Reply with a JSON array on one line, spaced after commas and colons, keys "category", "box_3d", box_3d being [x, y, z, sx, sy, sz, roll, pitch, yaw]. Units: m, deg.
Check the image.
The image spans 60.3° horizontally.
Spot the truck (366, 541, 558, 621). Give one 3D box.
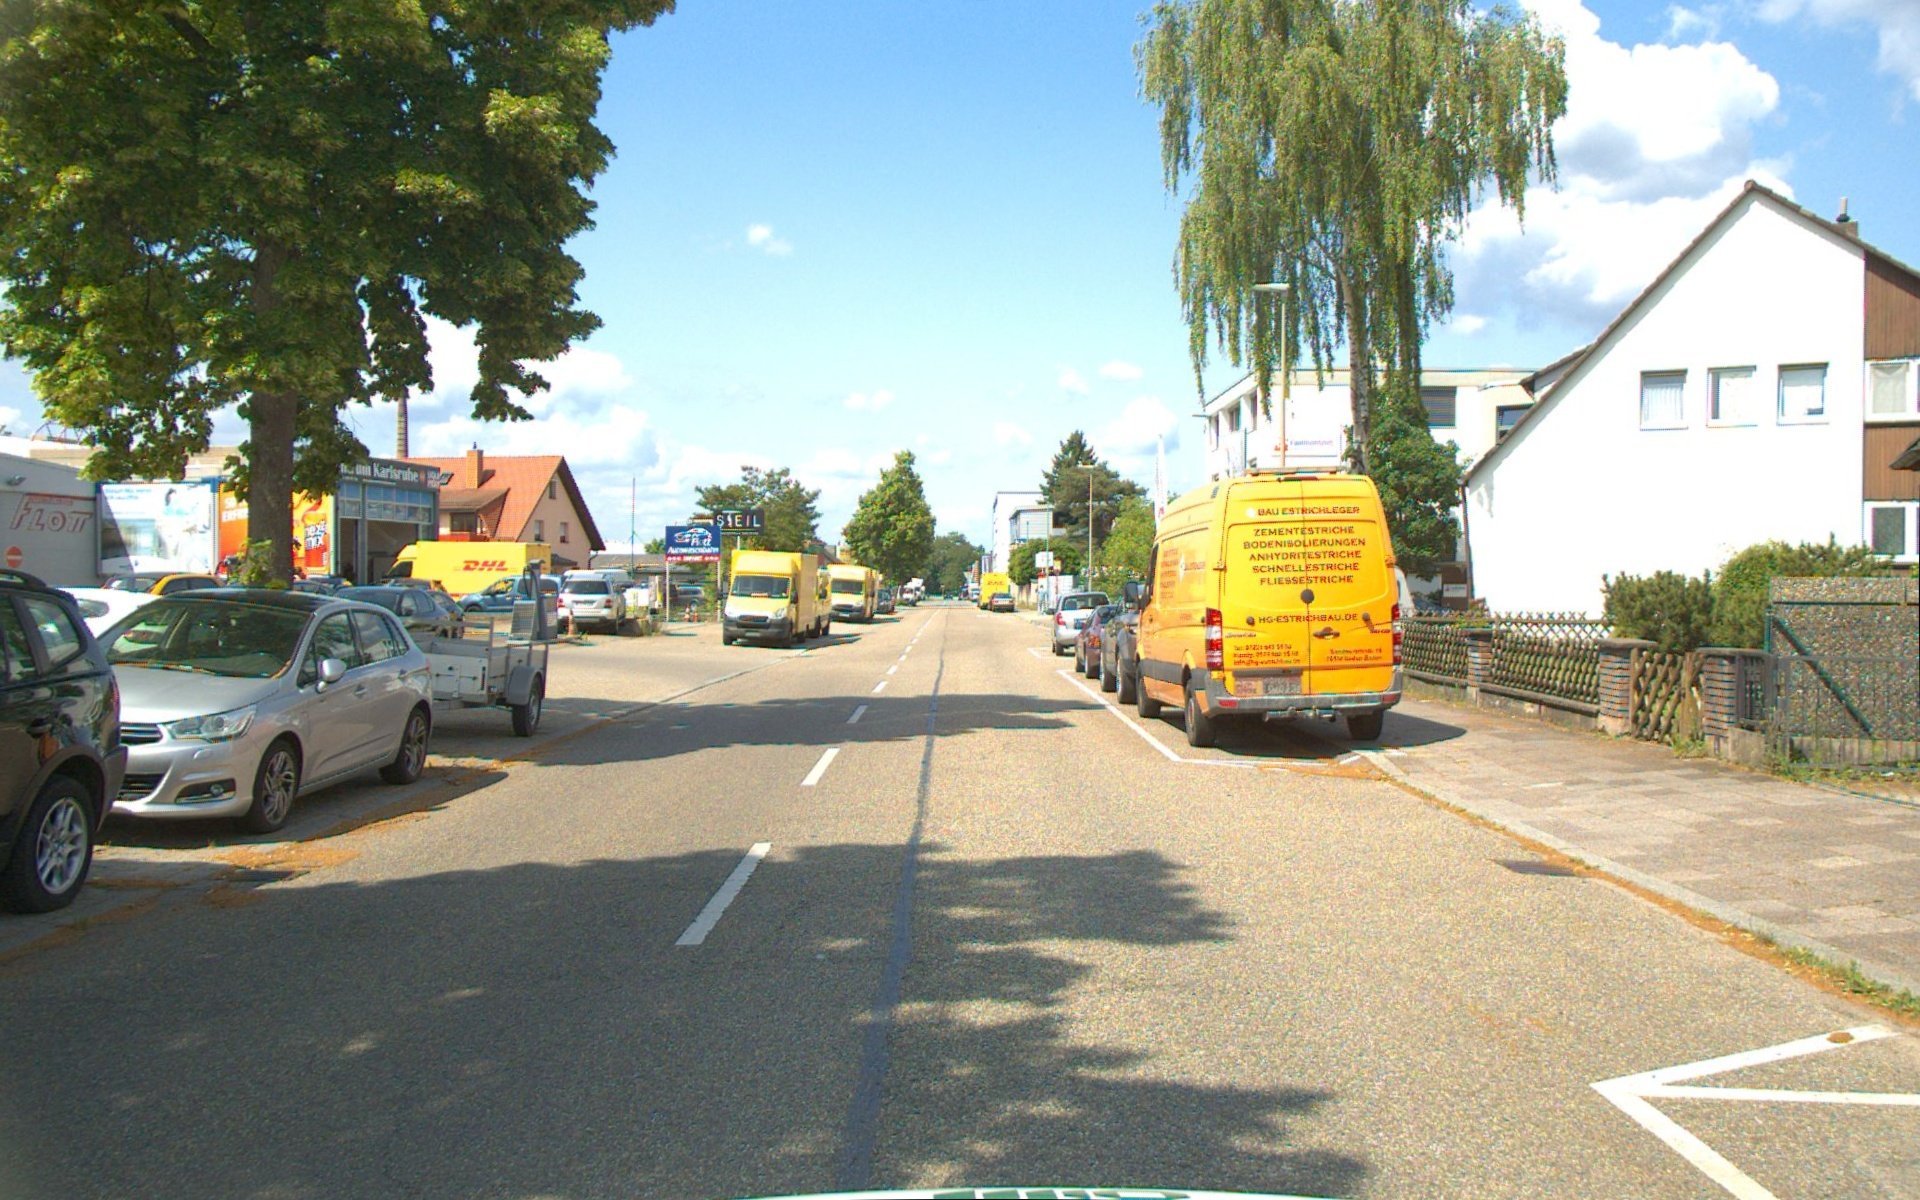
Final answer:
[{"category": "truck", "box_3d": [-18.573, -0.709, 61.751, 6.457, 2.900, 2.531, 0, 0, 12]}]

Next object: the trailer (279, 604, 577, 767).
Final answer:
[{"category": "trailer", "box_3d": [-5.282, 0.772, 17.063, 1.726, 1.312, 4.506, 3, 1, -2]}]

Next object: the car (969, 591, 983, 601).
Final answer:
[{"category": "car", "box_3d": [2.209, -0.560, 226.921, 1.889, 1.333, 4.000, 0, 1, 0]}]

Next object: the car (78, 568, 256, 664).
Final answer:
[{"category": "car", "box_3d": [-14.719, 0.270, 30.874, 1.412, 1.684, 3.303, 0, 0, 7]}]

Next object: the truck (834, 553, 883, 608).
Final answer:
[{"category": "truck", "box_3d": [-5.700, -1.071, 93.863, 2.269, 2.912, 7.104, 2, 0, -1]}]

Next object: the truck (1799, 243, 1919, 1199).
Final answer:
[{"category": "truck", "box_3d": [3.534, 0.284, 1.500, 2.470, 2.339, 5.895, -3, 0, 0]}]

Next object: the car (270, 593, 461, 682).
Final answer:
[{"category": "car", "box_3d": [-10.508, 0.613, 29.603, 1.718, 1.435, 4.585, 0, 1, 1]}]

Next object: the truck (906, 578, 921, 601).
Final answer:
[{"category": "truck", "box_3d": [-6.667, -1.551, 238.817, 1.988, 3.209, 6.499, 0, 0, 0]}]

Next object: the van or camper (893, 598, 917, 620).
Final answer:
[{"category": "van or camper", "box_3d": [-6.405, 1.000, 194.169, 2.128, 2.455, 7.700, 0, 0, 3]}]

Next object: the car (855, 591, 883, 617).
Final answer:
[{"category": "car", "box_3d": [-6.141, 0.247, 111.959, 1.690, 1.632, 4.412, 3, 0, -2]}]

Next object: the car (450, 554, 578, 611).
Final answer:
[{"category": "car", "box_3d": [-15.573, -0.624, 57.844, 3.845, 1.841, 1.857, 2, 1, 9]}]

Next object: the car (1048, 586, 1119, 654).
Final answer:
[{"category": "car", "box_3d": [3.105, 0.468, 42.064, 1.577, 1.608, 4.001, 1, 0, 1]}]

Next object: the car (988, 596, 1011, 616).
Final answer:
[{"category": "car", "box_3d": [2.908, 0.426, 122.714, 1.618, 1.411, 4.423, 1, 1, 0]}]

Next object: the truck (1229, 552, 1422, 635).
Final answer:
[{"category": "truck", "box_3d": [12.035, -0.229, 54.398, 5.967, 2.622, 2.545, 0, 1, -27]}]

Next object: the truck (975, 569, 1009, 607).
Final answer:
[{"category": "truck", "box_3d": [2.556, -0.957, 134.265, 2.424, 2.991, 7.186, 1, 0, -2]}]

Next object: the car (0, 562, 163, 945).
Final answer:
[{"category": "car", "box_3d": [-5.173, 0.687, 6.794, 1.659, 1.729, 4.400, 2, 1, -1]}]

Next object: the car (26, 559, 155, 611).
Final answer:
[{"category": "car", "box_3d": [-27.452, -0.475, 52.248, 3.431, 1.620, 1.563, 0, 0, 13]}]

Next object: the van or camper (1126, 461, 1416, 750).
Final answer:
[{"category": "van or camper", "box_3d": [3.217, 0.023, 18.426, 1.953, 2.710, 5.767, 0, 0, -2]}]

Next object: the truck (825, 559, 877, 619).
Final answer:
[{"category": "truck", "box_3d": [-5.515, -0.538, 84.297, 2.223, 2.904, 7.173, 1, 0, -1]}]

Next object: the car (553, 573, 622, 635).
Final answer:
[{"category": "car", "box_3d": [-11.692, 0.091, 52.173, 1.795, 1.735, 4.699, 0, 2, -9]}]

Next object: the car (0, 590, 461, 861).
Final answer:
[{"category": "car", "box_3d": [-5.267, 0.746, 12.140, 1.795, 1.555, 4.238, 2, 1, 1]}]

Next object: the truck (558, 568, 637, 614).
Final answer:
[{"category": "truck", "box_3d": [-20.427, -0.529, 93.429, 2.065, 2.531, 5.725, 0, 1, 13]}]

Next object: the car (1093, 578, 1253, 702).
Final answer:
[{"category": "car", "box_3d": [3.037, 0.517, 24.380, 1.795, 1.668, 4.239, 0, 0, 0]}]

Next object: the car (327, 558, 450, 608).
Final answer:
[{"category": "car", "box_3d": [-20.391, -0.602, 59.071, 3.760, 1.761, 1.734, 0, 0, 11]}]

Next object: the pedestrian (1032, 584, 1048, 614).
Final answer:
[{"category": "pedestrian", "box_3d": [4.677, -0.065, 96.460, 0.702, 1.726, 0.522, -5, 0, -5]}]

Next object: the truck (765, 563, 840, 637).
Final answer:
[{"category": "truck", "box_3d": [-5.505, -0.028, 58.441, 1.952, 2.456, 6.065, 0, 0, 1]}]

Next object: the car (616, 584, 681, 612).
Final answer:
[{"category": "car", "box_3d": [-15.978, -0.102, 85.010, 1.771, 1.328, 3.872, -1, 1, 14]}]

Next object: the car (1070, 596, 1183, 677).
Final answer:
[{"category": "car", "box_3d": [3.021, 0.633, 30.791, 1.635, 1.358, 4.437, 0, 1, -1]}]

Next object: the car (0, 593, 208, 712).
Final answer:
[{"category": "car", "box_3d": [-11.929, 0.628, 20.981, 3.941, 1.398, 1.828, 1, 0, 4]}]

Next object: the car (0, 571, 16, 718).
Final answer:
[{"category": "car", "box_3d": [-11.921, 0.473, 16.417, 4.058, 1.516, 1.828, -1, 0, 2]}]

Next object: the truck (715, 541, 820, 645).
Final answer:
[{"category": "truck", "box_3d": [-5.796, -0.225, 50.714, 2.174, 2.907, 7.070, 1, 0, 1]}]
